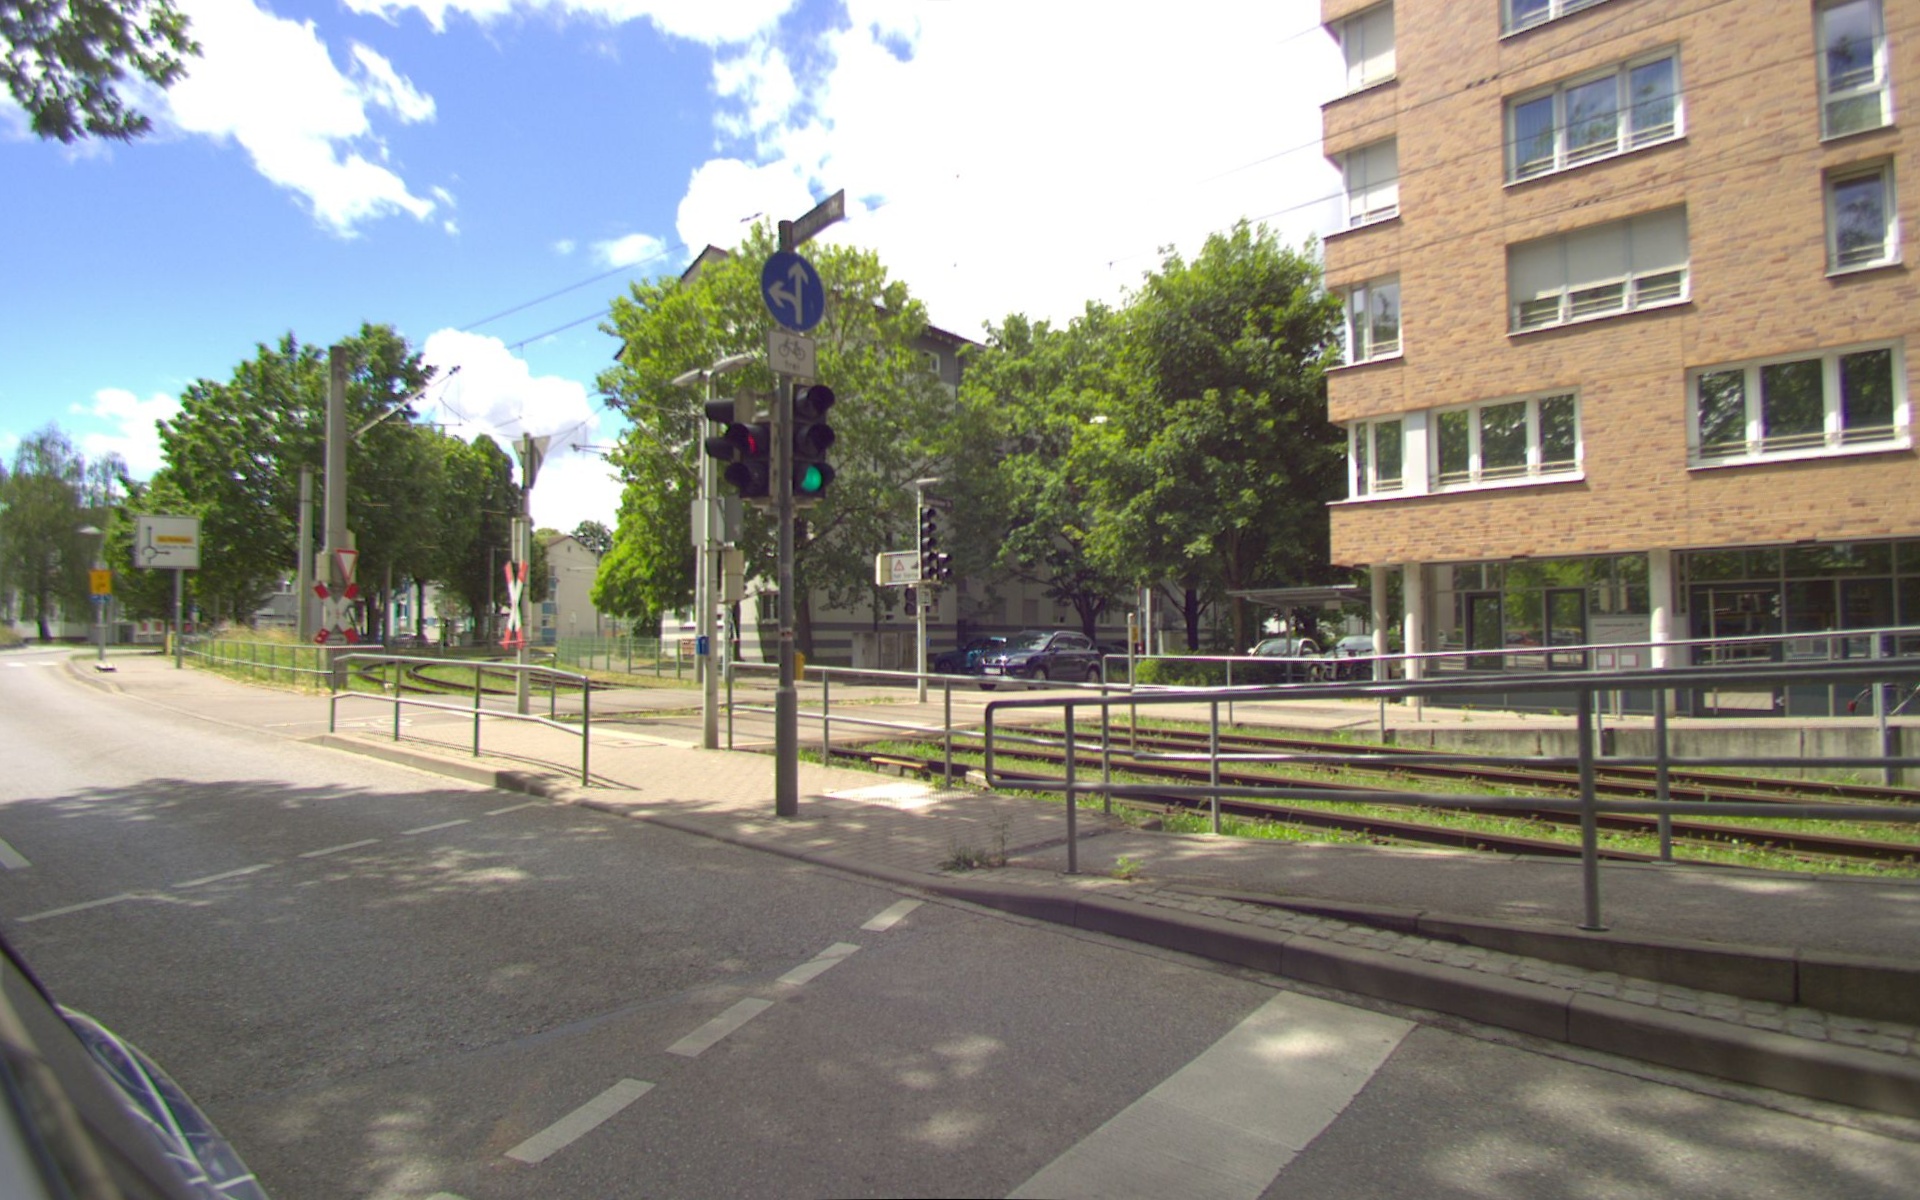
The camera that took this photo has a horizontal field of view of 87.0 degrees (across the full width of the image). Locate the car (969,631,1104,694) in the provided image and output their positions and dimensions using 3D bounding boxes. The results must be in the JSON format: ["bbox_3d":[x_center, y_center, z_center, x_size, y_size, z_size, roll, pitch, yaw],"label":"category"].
[{"bbox_3d":[2.063,1.702,26.610,1.588,1.488,3.631,-6,-8,43],"label":"car"}]

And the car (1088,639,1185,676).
[{"bbox_3d":[8.238,2.678,47.462,4.101,1.567,1.839,0,-2,35],"label":"car"}]

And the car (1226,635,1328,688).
[{"bbox_3d":[9.013,1.704,28.646,1.593,1.410,3.495,-1,-3,39],"label":"car"}]

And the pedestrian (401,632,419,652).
[{"bbox_3d":[-47.046,3.612,86.586,0.874,1.677,1.010,-1,-3,36],"label":"pedestrian"}]

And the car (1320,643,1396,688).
[{"bbox_3d":[10.660,1.724,27.023,1.148,1.128,2.626,-1,-3,39],"label":"car"}]

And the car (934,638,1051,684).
[{"bbox_3d":[1.198,2.248,38.218,4.101,1.567,1.839,0,-2,35],"label":"car"}]

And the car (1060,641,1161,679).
[{"bbox_3d":[6.705,2.657,45.288,4.101,1.567,1.839,0,-2,35],"label":"car"}]
